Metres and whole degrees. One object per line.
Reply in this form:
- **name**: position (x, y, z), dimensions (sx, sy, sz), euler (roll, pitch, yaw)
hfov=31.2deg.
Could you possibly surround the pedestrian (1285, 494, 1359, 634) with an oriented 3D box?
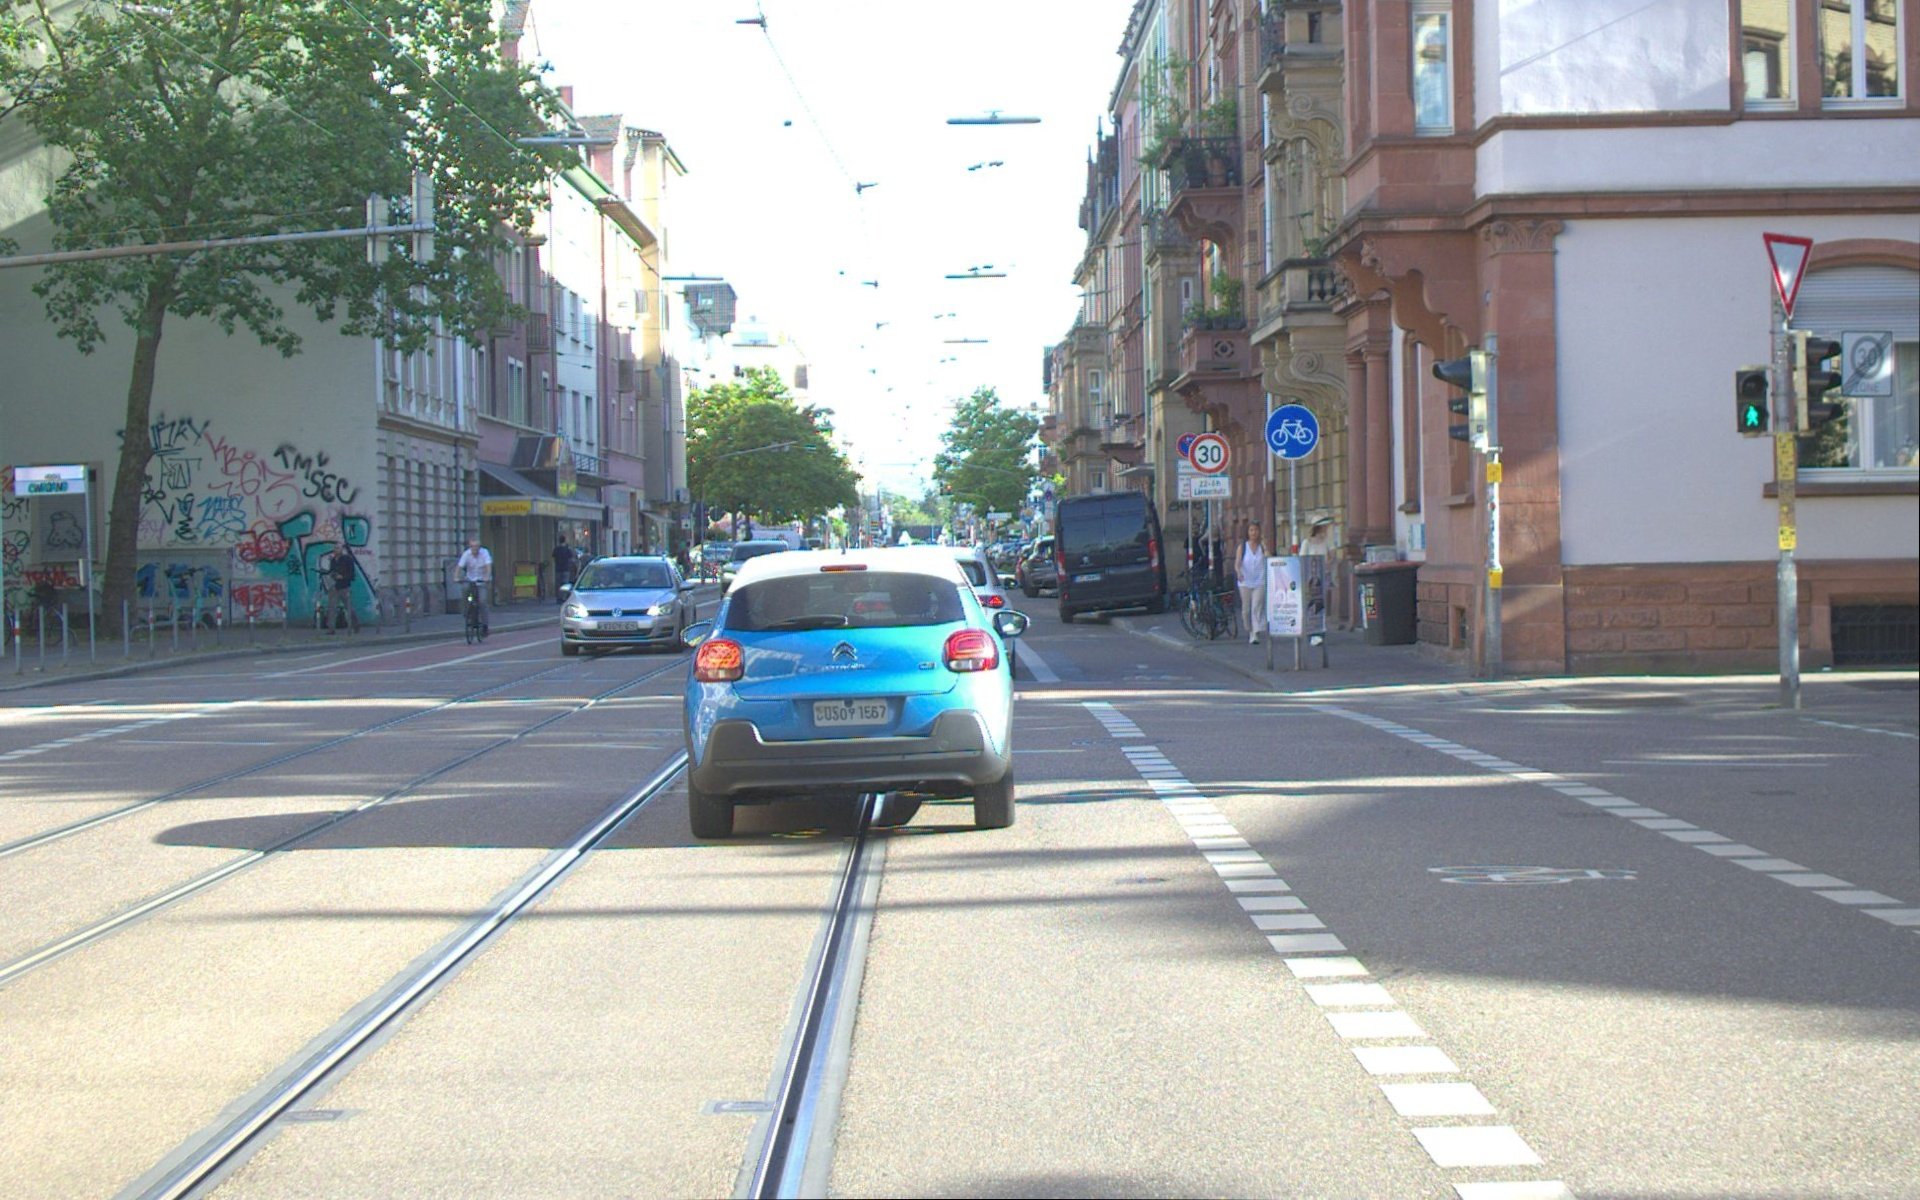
- **pedestrian**: position (4.795, -0.479, 45.523), dimensions (0.705, 1.776, 0.673), euler (-6, 1, -1)

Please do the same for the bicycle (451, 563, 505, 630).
- **bicycle**: position (-8.581, -0.073, 61.225), dimensions (0.692, 1.116, 2.084), euler (-1, 1, -1)

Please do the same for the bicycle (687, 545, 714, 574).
- **bicycle**: position (-12.230, -1.909, 161.805), dimensions (1.120, 1.315, 3.645), euler (-2, 1, -6)

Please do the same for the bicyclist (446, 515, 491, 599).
- **bicyclist**: position (-8.769, -0.772, 61.358), dimensions (0.682, 1.478, 0.778), euler (-1, 1, -1)

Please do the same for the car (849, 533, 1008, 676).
- **car**: position (-0.391, 0.006, 38.871), dimensions (1.667, 1.473, 4.001), euler (-2, 1, -1)

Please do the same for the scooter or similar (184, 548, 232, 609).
- **scooter or similar**: position (-15.243, -0.433, 69.681), dimensions (0.937, 1.218, 0.768), euler (-1, 1, -12)

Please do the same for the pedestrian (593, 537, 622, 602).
- **pedestrian**: position (-9.590, -0.831, 93.541), dimensions (0.710, 1.758, 0.655), euler (-2, 1, -8)

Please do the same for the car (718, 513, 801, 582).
- **car**: position (-5.218, -1.394, 90.109), dimensions (1.993, 1.738, 4.563), euler (-1, 1, -2)

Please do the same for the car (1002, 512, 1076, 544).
- **car**: position (4.292, -3.931, 187.056), dimensions (3.835, 1.612, 1.792), euler (-2, 1, -3)

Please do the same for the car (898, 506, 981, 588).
- **car**: position (-0.559, -1.377, 88.735), dimensions (1.993, 2.007, 4.001), euler (-2, 1, -1)

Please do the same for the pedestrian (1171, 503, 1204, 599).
- **pedestrian**: position (4.762, -1.028, 71.917), dimensions (0.585, 2.007, 0.823), euler (-1, 1, -2)

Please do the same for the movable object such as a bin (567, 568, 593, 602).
- **movable object such as a bin**: position (-10.380, -0.417, 93.872), dimensions (0.610, 0.911, 0.695), euler (-2, 1, 0)

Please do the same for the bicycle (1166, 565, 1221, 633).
- **bicycle**: position (3.376, -0.027, 49.794), dimensions (0.431, 0.944, 1.764), euler (-1, 1, -8)

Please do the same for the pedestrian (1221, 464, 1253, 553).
- **pedestrian**: position (5.583, -1.847, 69.364), dimensions (0.553, 1.776, 0.606), euler (-1, 1, -2)

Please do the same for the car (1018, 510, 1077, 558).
- **car**: position (3.077, -2.333, 121.481), dimensions (2.005, 1.667, 4.391), euler (-1, 1, 1)

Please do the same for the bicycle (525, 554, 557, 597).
- **bicycle**: position (-11.836, -0.696, 97.044), dimensions (0.621, 1.155, 2.066), euler (-2, 1, -13)

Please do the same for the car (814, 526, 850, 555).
- **car**: position (-7.525, -3.517, 202.509), dimensions (1.993, 1.645, 4.001), euler (-2, 1, -1)

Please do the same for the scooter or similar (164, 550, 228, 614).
- **scooter or similar**: position (-15.275, -0.364, 68.741), dimensions (1.227, 1.253, 0.768), euler (-2, 1, -12)

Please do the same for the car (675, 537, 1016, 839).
- **car**: position (-0.591, 0.404, 19.117), dimensions (1.674, 1.472, 4.000), euler (-1, 1, -1)

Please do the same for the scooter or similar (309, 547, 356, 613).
- **scooter or similar**: position (-12.786, -0.415, 70.055), dimensions (0.788, 1.267, 1.075), euler (1, 3, -1)

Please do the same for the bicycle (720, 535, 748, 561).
- **bicycle**: position (-10.668, -2.453, 162.038), dimensions (1.120, 1.142, 3.645), euler (-2, 1, -6)

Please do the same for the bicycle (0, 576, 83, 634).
- **bicycle**: position (-16.875, 0.088, 62.309), dimensions (1.918, 1.031, 0.664), euler (0, 1, 26)

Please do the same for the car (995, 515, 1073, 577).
- **car**: position (2.073, -1.552, 97.589), dimensions (2.005, 1.666, 4.806), euler (-2, 1, 0)

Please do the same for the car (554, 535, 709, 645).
- **car**: position (-4.886, -0.183, 51.627), dimensions (1.985, 1.497, 4.309), euler (-1, 1, -1)

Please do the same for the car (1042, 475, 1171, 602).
- **car**: position (2.942, -1.267, 70.182), dimensions (2.271, 2.428, 5.720), euler (-1, 1, -1)

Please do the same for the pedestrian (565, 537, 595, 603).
- **pedestrian**: position (-10.291, -0.813, 93.207), dimensions (0.710, 1.758, 0.570), euler (-2, 1, -1)

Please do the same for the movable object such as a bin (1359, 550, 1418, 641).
- **movable object such as a bin**: position (5.516, -0.056, 44.262), dimensions (0.666, 1.149, 0.594), euler (-1, 1, -2)

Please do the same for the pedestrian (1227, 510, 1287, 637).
- **pedestrian**: position (4.040, -0.368, 46.791), dimensions (0.626, 1.695, 0.682), euler (-2, 1, -9)

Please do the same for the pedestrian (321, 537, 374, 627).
- **pedestrian**: position (-12.101, -0.361, 67.894), dimensions (0.682, 1.759, 1.025), euler (-1, 1, 10)

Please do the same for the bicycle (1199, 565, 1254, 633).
- **bicycle**: position (3.860, -0.023, 49.859), dimensions (0.431, 0.944, 1.764), euler (-1, 1, -8)

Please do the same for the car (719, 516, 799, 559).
- **car**: position (-12.306, -3.843, 210.562), dimensions (4.307, 2.572, 2.210), euler (-1, 1, -26)
